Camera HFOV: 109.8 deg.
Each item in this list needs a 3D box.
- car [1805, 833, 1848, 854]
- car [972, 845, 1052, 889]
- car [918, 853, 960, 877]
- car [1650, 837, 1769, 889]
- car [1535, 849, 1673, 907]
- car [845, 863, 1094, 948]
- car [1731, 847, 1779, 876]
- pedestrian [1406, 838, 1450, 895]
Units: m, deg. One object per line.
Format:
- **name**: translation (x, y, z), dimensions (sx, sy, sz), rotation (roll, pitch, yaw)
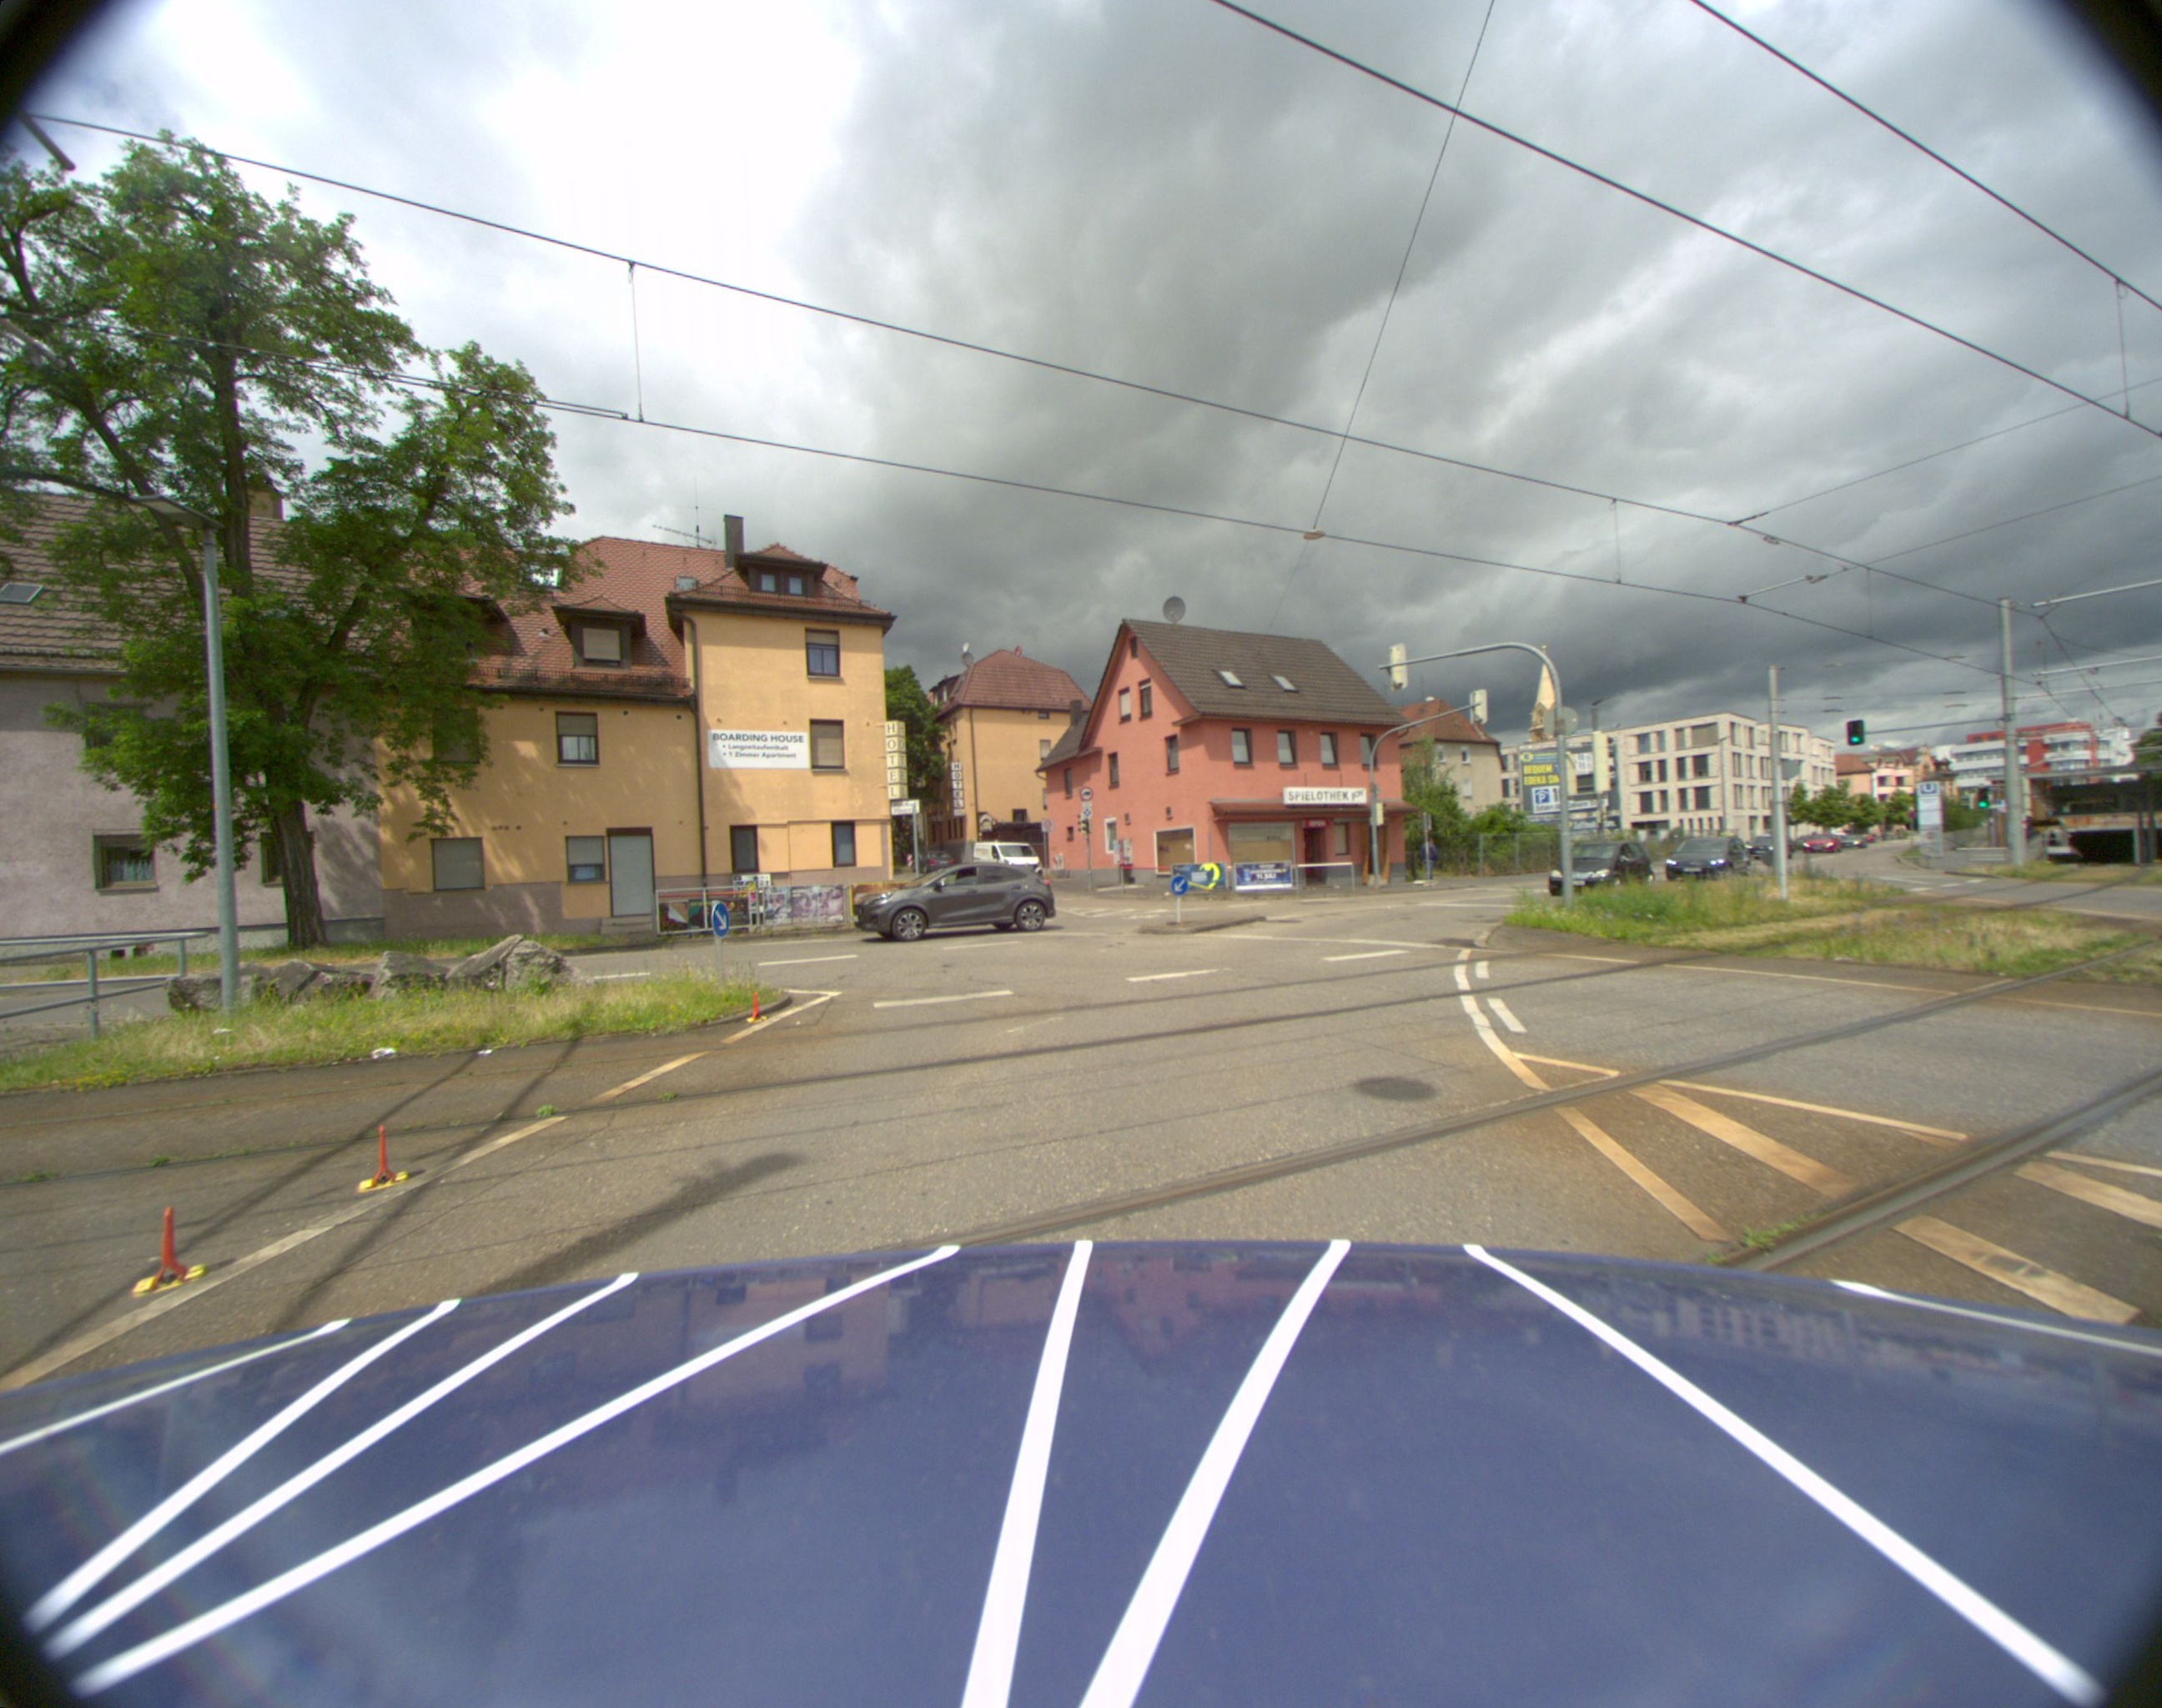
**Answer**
- **car**: translation (59.660, -0.872, 60.795), dimensions (4.007, 1.449, 1.995), rotation (-3, -1, -39)
- **car**: translation (-3.378, 0.596, 36.249), dimensions (2.084, 1.887, 4.652), rotation (-4, 1, -28)
- **car**: translation (-8.632, 0.682, 46.038), dimensions (1.564, 1.362, 3.126), rotation (-3, 0, -28)
- **car**: translation (23.147, 0.318, 27.951), dimensions (4.426, 1.639, 1.996), rotation (-3, 0, -32)
- **car**: translation (15.481, 0.683, 22.452), dimensions (4.006, 1.420, 1.879), rotation (-3, 0, -33)
- **car**: translation (-2.342, 1.021, 16.304), dimensions (4.861, 1.363, 1.916), rotation (-3, 0, -27)
- **car**: translation (43.868, 0.466, 49.435), dimensions (4.008, 1.661, 1.995), rotation (-3, -1, -45)
- **pedestrian**: translation (13.549, 0.482, 29.657), dimensions (1.130, 2.135, 1.050), rotation (-2, 1, -24)
